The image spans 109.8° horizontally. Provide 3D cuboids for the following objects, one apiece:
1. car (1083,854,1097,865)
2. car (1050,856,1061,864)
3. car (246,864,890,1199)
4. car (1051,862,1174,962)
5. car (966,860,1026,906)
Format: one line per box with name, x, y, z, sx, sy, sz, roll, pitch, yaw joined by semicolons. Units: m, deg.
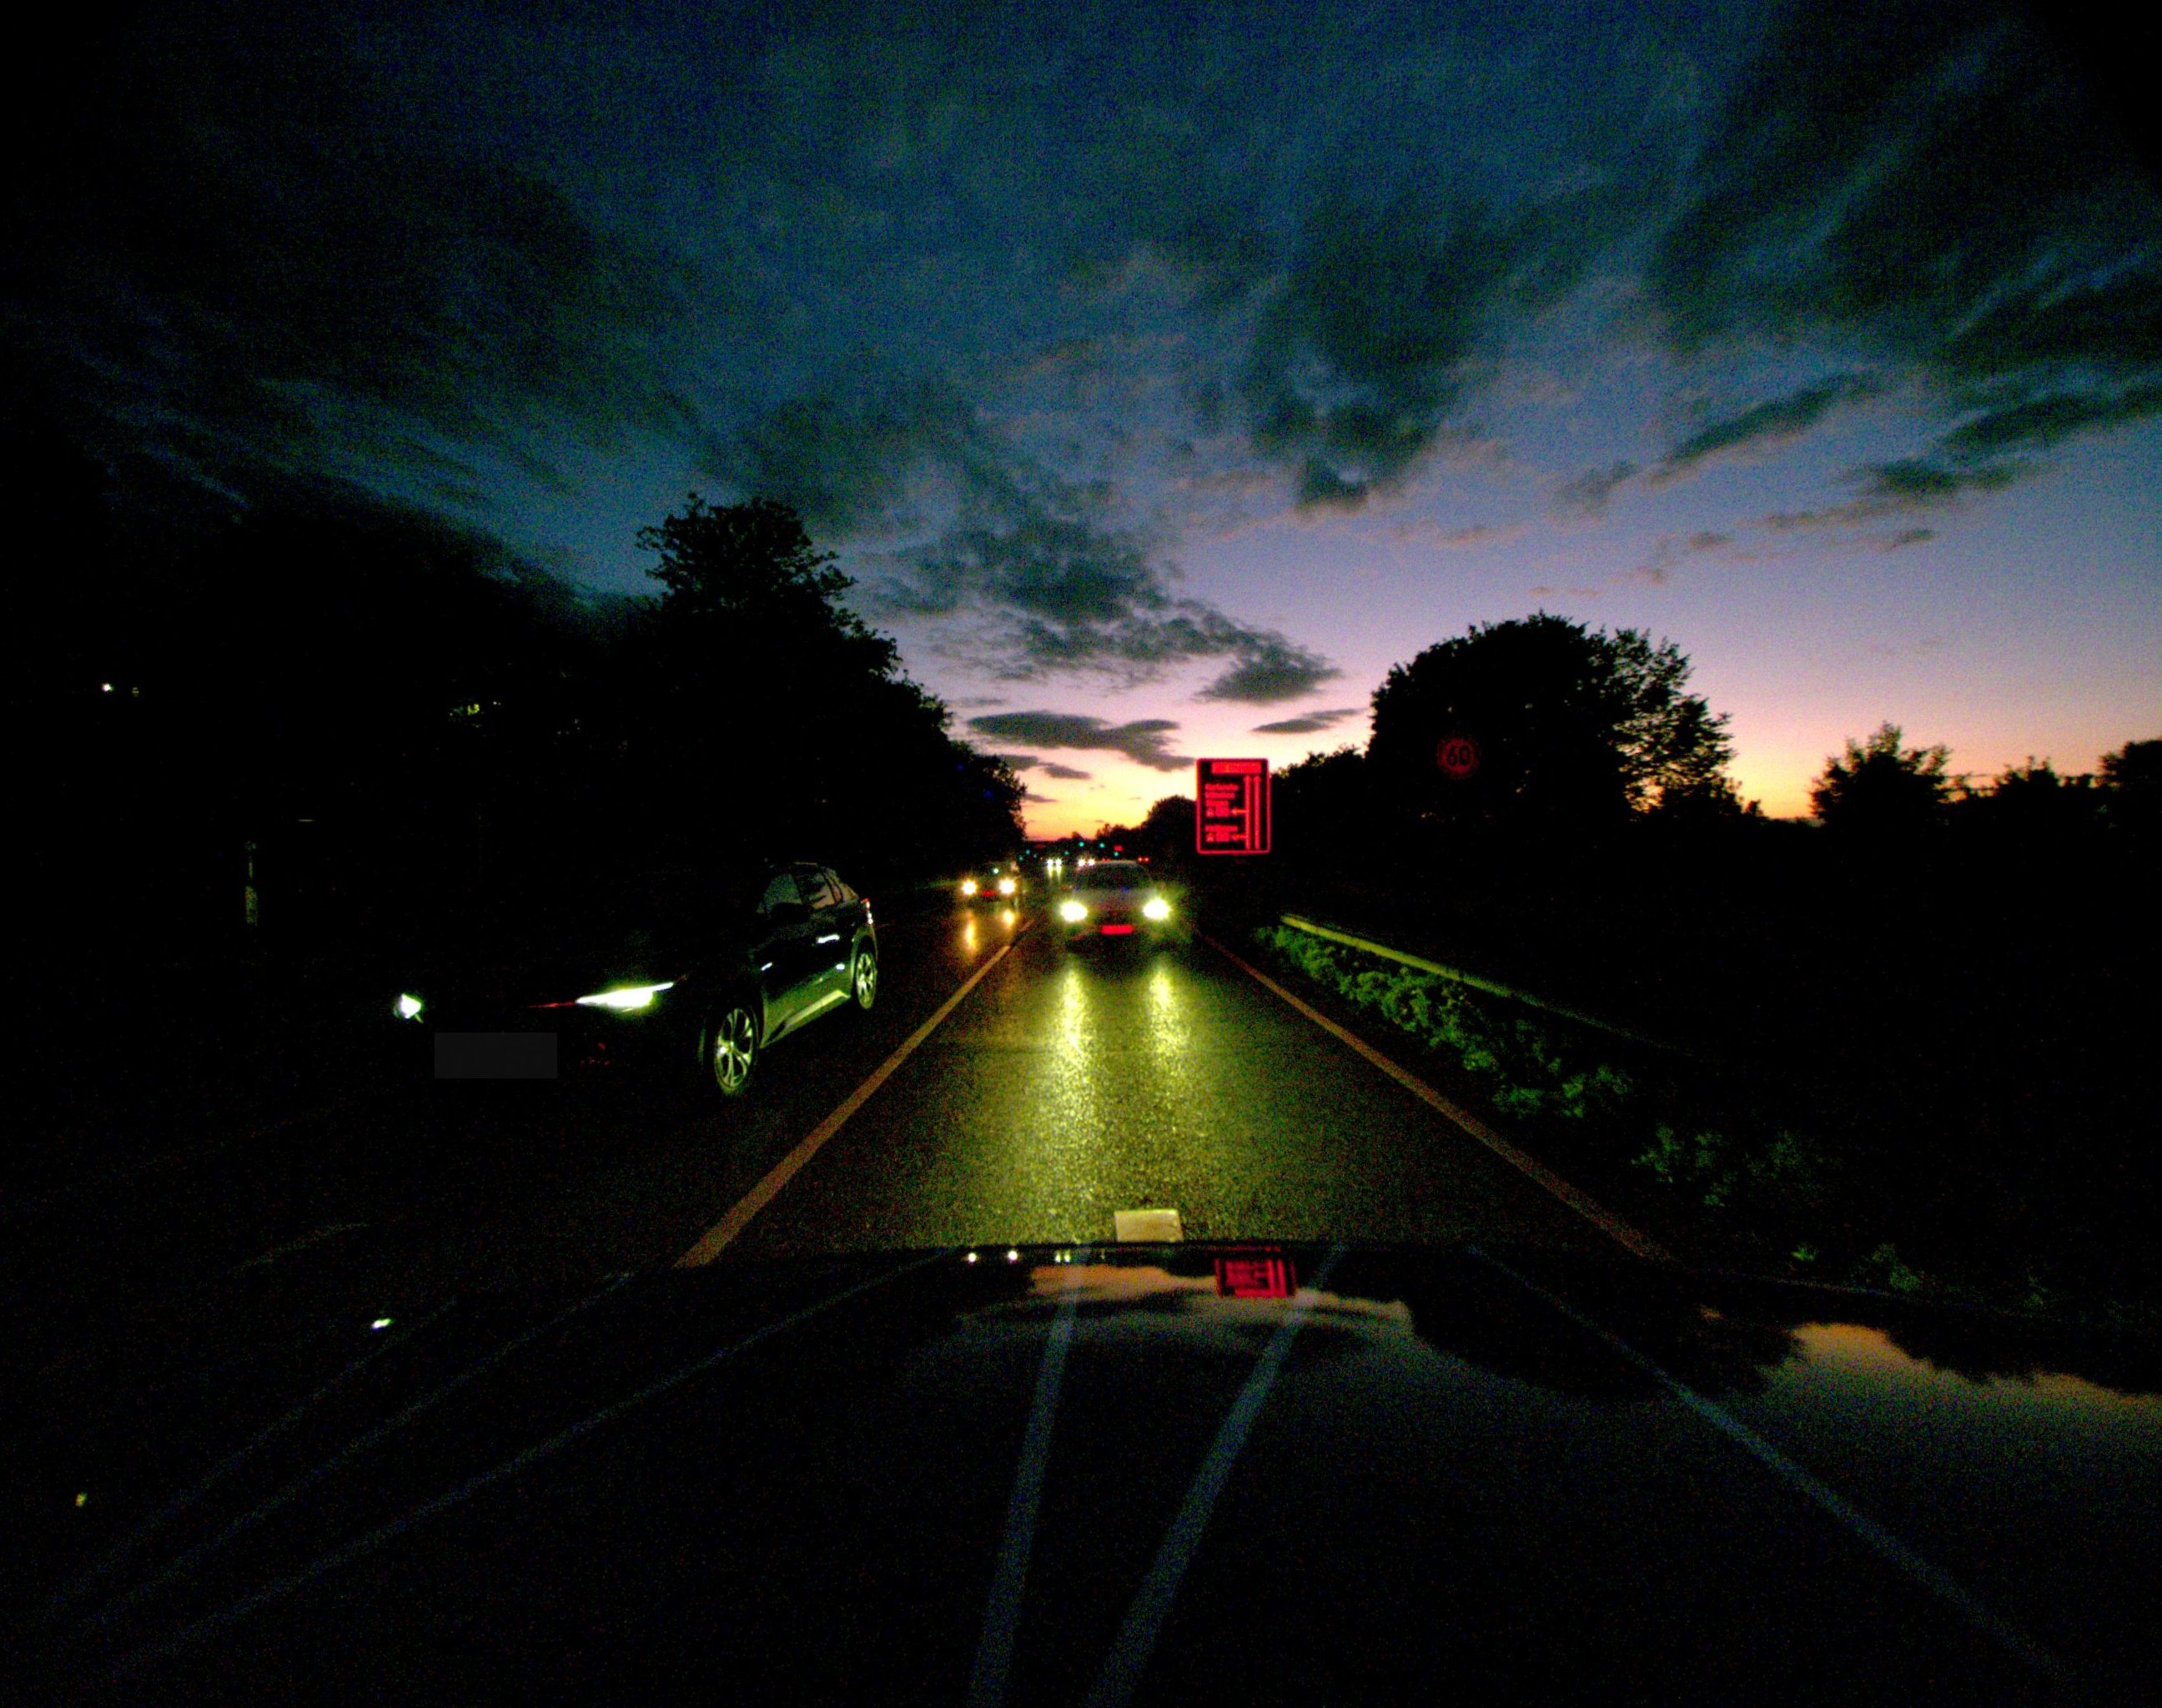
car;1.326;0.782;114.174;1.999;1.602;4.501;-1;0;-1
car;-4.623;1.073;137.871;1.999;1.423;4.501;0;0;-1
car;-3.221;0.941;6.247;1.998;1.600;4.711;-2;0;1
car;0.492;0.937;14.192;1.901;1.472;4.514;-2;0;0
car;-2.955;0.986;27.186;1.624;1.460;3.871;-2;0;1
